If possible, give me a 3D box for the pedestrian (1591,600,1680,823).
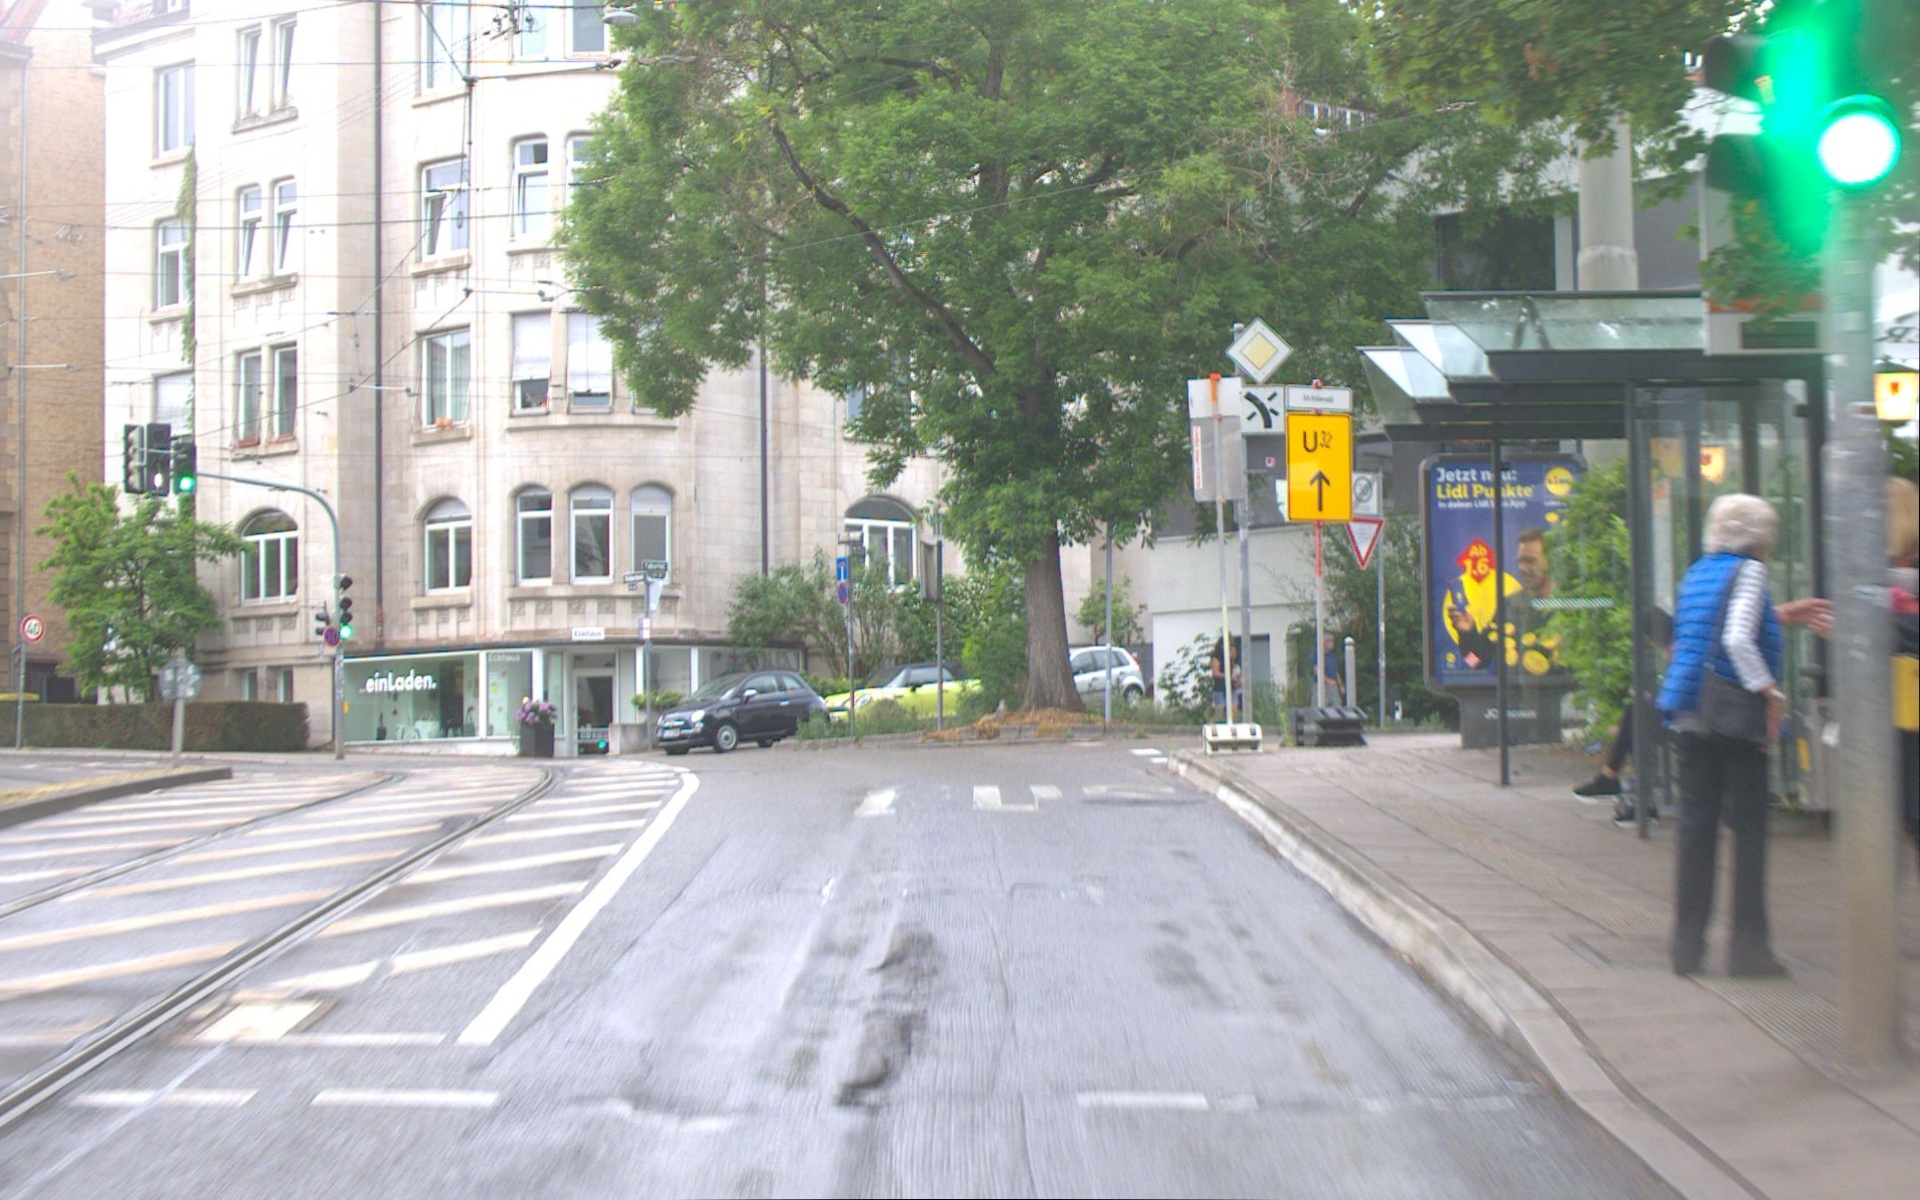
[{"bbox_3d":[3.569,0.584,18.172,0.325,1.146,0.318,-4,1,-4],"label":"pedestrian"}]

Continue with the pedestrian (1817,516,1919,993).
[{"bbox_3d":[3.255,0.493,11.508,0.545,1.548,0.559,-3,1,-2],"label":"pedestrian"}]

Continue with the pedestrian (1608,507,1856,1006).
[{"bbox_3d":[2.500,0.488,11.182,0.588,1.548,0.650,-3,1,-1],"label":"pedestrian"}]

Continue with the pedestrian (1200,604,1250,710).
[{"bbox_3d":[3.942,0.847,51.157,0.599,1.560,0.546,1,1,-10],"label":"pedestrian"}]

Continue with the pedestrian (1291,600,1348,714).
[{"bbox_3d":[5.218,0.824,49.878,0.544,1.624,0.601,0,1,-33],"label":"pedestrian"}]

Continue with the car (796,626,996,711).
[{"bbox_3d":[-1.258,1.354,68.376,3.660,1.503,1.737,-3,0,-42],"label":"car"}]

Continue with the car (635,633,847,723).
[{"bbox_3d":[-4.138,1.472,65.276,3.660,1.503,1.737,-3,0,-42],"label":"car"}]

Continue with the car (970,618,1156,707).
[{"bbox_3d":[2.159,1.283,71.335,1.622,1.503,3.764,-6,-1,44],"label":"car"}]
